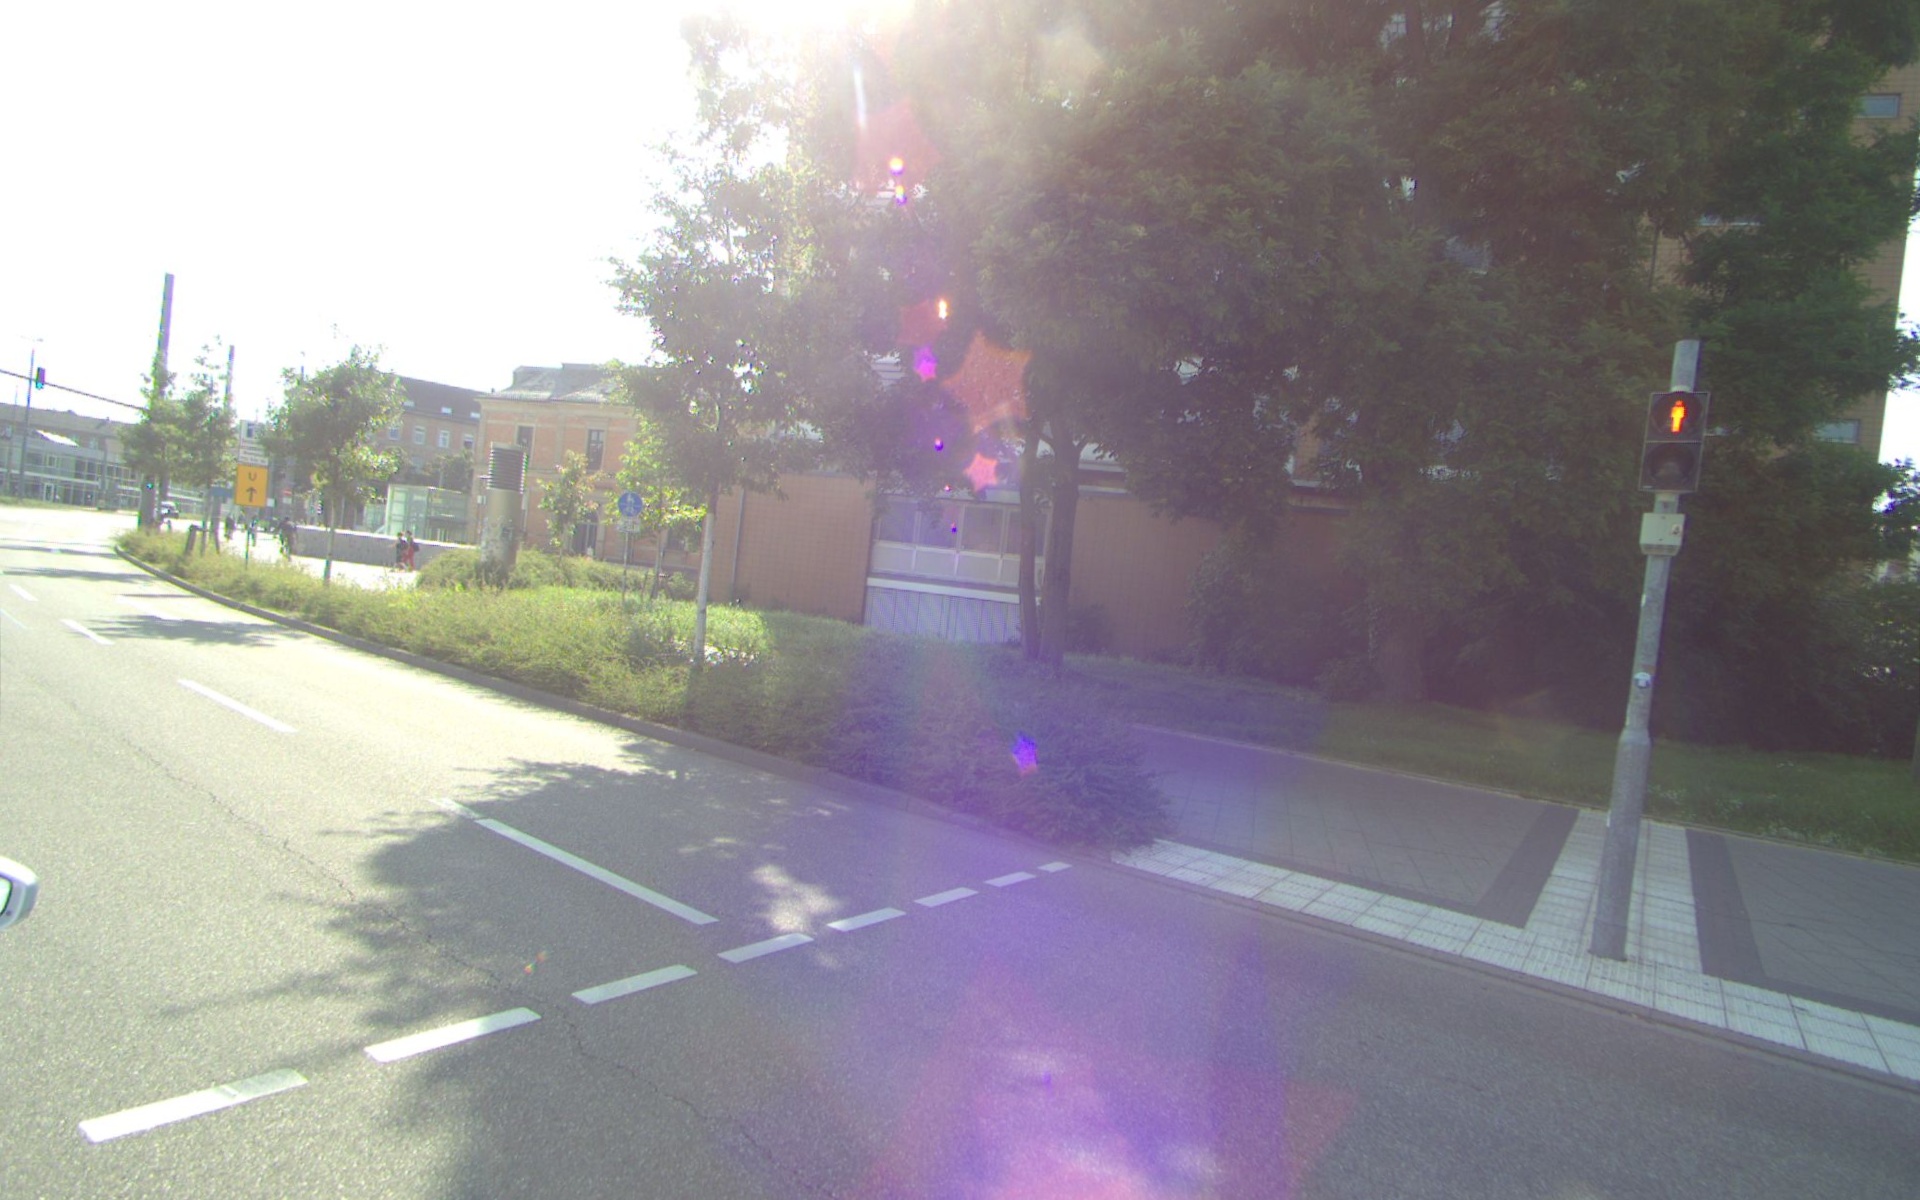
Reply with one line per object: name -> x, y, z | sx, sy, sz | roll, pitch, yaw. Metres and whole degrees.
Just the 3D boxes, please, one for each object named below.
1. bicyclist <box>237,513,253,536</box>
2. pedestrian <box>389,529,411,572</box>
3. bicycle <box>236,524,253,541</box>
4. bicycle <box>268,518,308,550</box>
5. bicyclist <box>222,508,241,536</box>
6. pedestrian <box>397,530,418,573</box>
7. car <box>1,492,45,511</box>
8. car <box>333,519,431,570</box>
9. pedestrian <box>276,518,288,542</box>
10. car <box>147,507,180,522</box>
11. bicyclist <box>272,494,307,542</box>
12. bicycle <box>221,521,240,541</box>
bicyclist -> -48.043, -5.069, 67.619 | 0.701, 1.411, 0.822 | 6, 1, -33
pedestrian -> -22.448, -1.981, 40.322 | 0.609, 1.659, 0.530 | 6, 1, -26
bicycle -> -48.091, -4.549, 67.614 | 0.701, 1.074, 1.965 | 6, 0, -33
bicycle -> -24.068, -2.380, 36.020 | 0.769, 0.988, 2.123 | 7, 0, -43
bicyclist -> -42.802, -4.571, 59.097 | 0.708, 1.549, 0.799 | 6, 1, -33
pedestrian -> -22.542, -1.980, 41.056 | 0.610, 1.649, 0.529 | 6, 1, -32
car -> -97.065, -10.168, 104.227 | 1.973, 1.460, 3.978 | 7, 0, -22
car -> -30.171, -2.863, 52.606 | 1.722, 2.039, 3.997 | 10, 1, 24
pedestrian -> -60.306, -6.202, 89.465 | 0.741, 2.039, 0.799 | 6, 1, -33
car -> -99.222, -10.642, 125.364 | 1.972, 1.460, 3.980 | 7, 0, -21
bicyclist -> -24.015, -2.940, 36.016 | 0.769, 1.598, 0.978 | 6, 1, -44
bicycle -> -42.844, -4.039, 59.104 | 0.701, 1.074, 1.965 | 6, 0, -33
